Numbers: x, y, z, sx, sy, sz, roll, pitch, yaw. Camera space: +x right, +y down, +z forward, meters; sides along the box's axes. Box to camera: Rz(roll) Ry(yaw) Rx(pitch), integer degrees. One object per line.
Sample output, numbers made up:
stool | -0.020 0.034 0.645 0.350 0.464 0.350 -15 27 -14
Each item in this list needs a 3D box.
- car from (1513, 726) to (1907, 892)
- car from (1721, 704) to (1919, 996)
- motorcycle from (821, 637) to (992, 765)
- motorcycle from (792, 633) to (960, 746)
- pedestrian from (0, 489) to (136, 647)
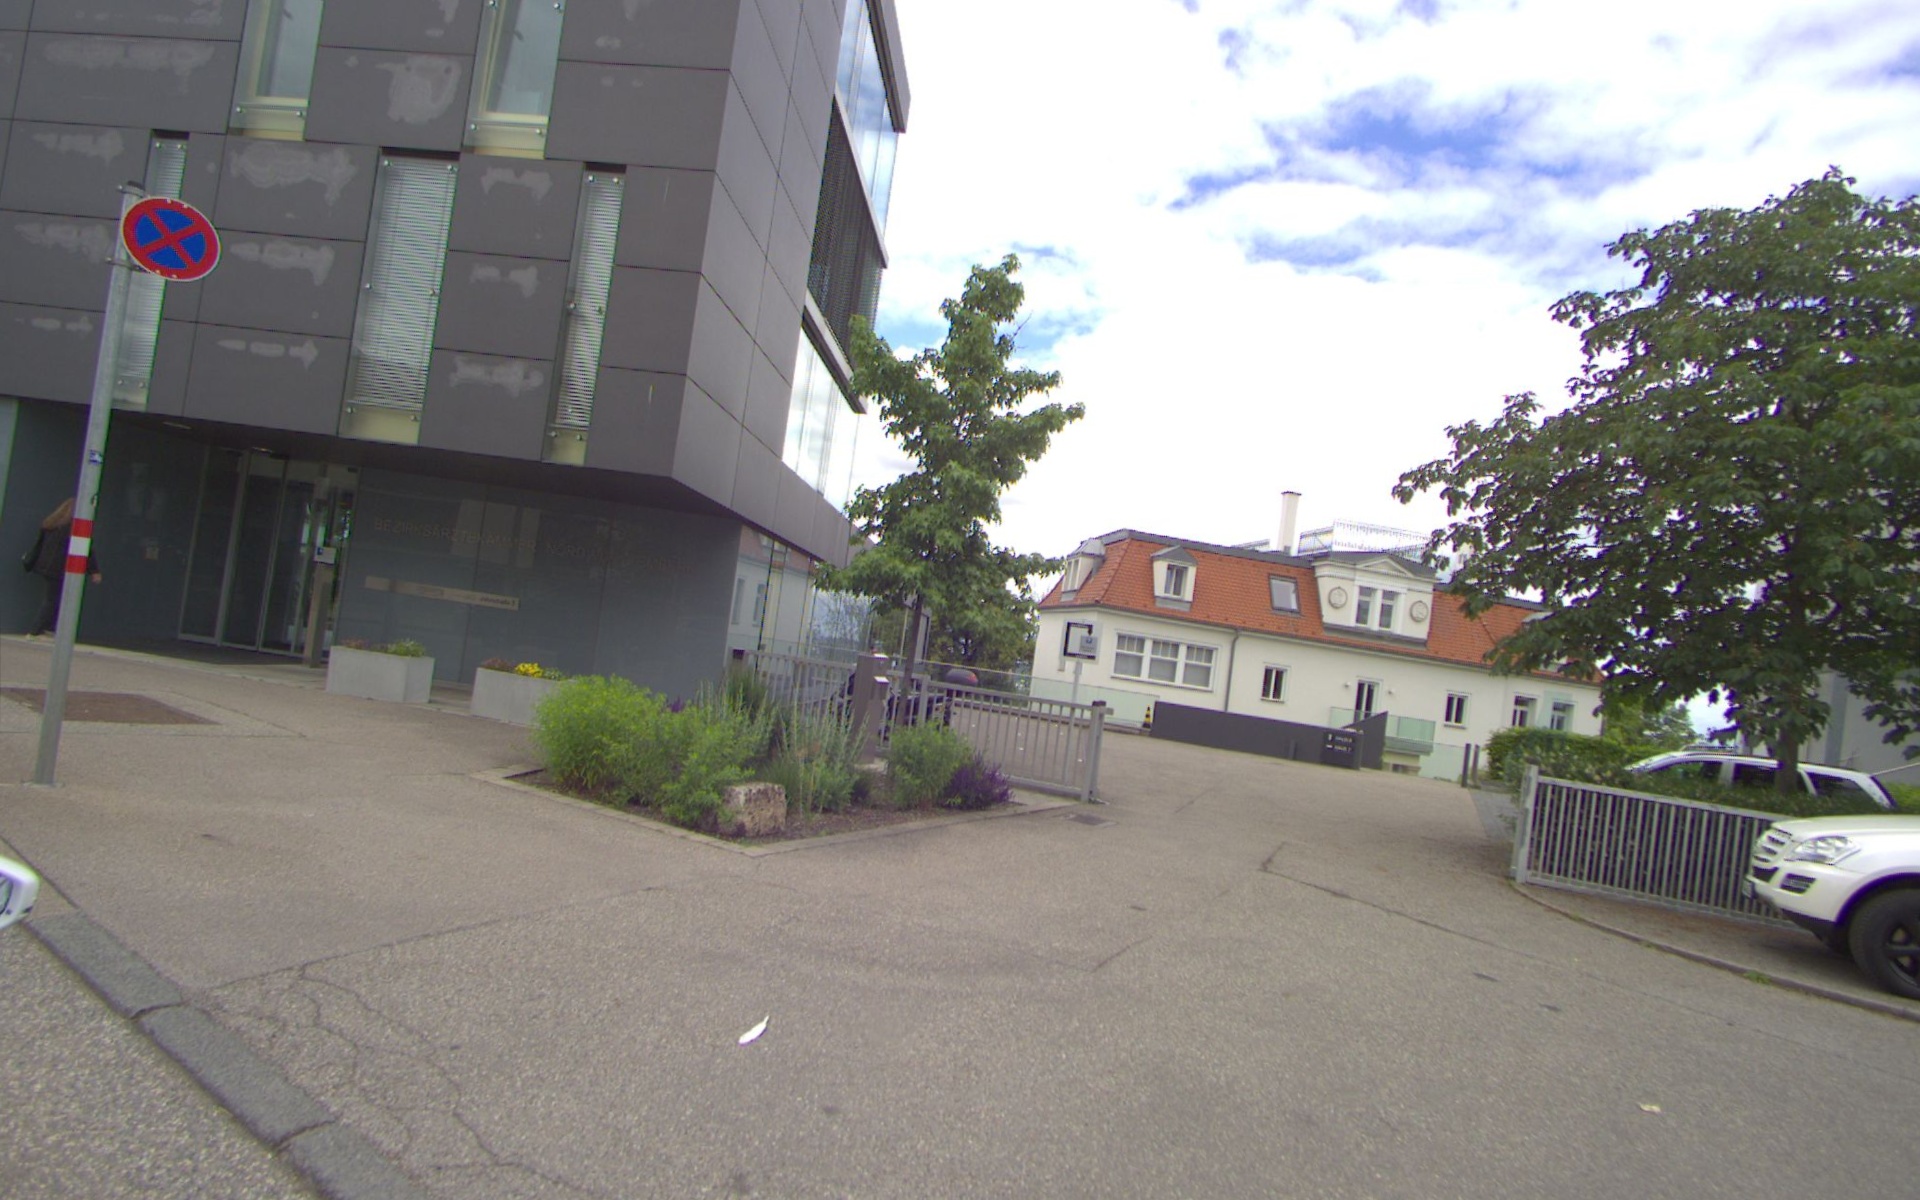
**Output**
car | 10.285 2.815 14.233 4.144 1.500 1.621 5 -3 27
car | 8.019 1.922 6.520 4.646 1.777 1.855 6 -3 34
motorcycle | -0.735 1.376 13.921 2.084 1.409 0.671 8 -1 15
motorcycle | -1.327 1.402 15.941 2.416 1.409 0.671 7 -2 15
pedestrian | -10.600 -0.354 11.932 0.700 1.713 0.866 7 -2 21
